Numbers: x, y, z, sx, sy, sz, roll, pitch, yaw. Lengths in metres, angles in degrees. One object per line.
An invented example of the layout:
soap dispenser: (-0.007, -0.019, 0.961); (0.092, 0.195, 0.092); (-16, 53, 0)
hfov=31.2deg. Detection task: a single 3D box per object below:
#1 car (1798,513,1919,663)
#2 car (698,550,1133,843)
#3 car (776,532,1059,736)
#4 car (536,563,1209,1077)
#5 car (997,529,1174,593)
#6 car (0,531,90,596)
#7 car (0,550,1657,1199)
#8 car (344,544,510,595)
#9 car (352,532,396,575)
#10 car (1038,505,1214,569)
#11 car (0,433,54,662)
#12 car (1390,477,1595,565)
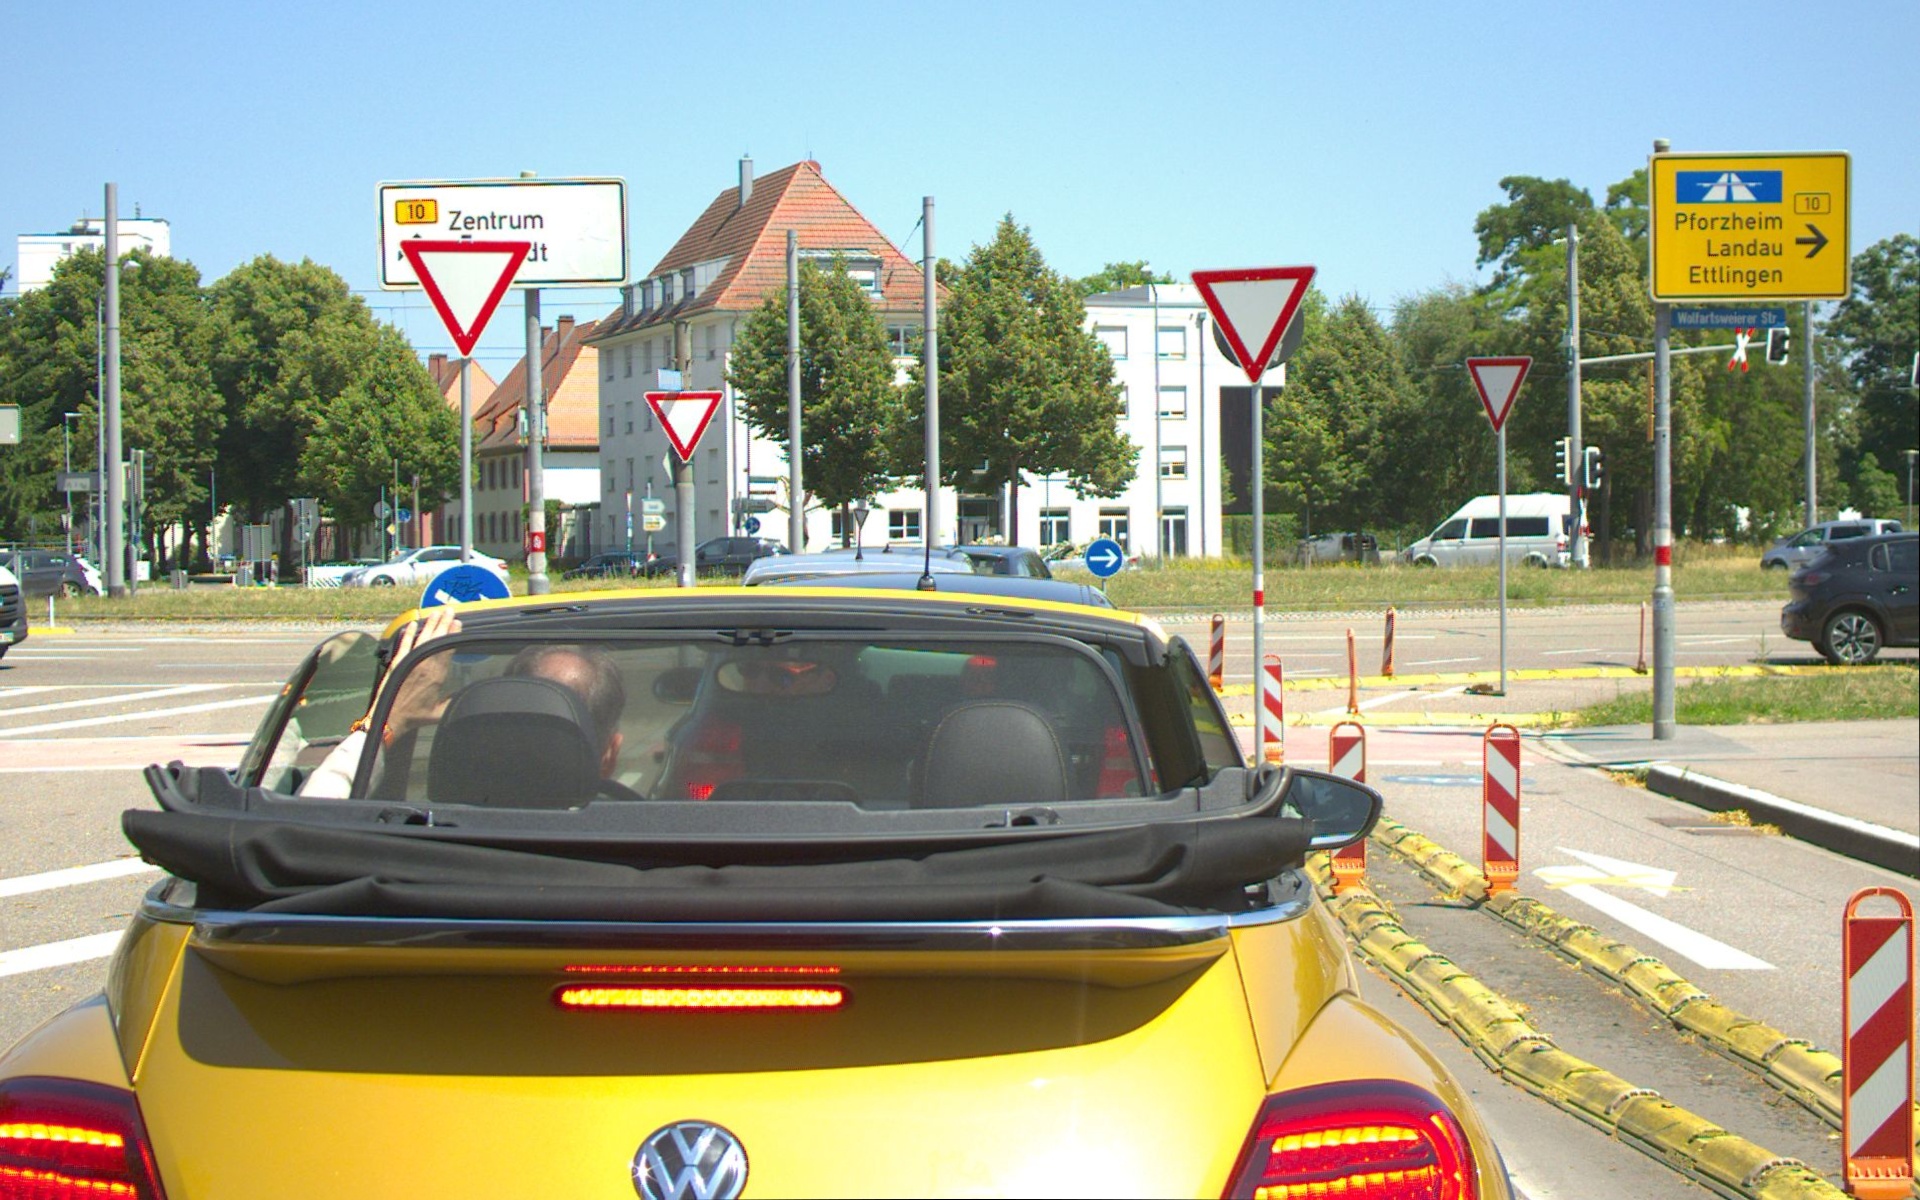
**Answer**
car: (11.392, -0.166, 37.864); (3.988, 1.546, 1.728); (-1, 3, 6)
car: (-0.236, 0.440, 18.609); (2.065, 1.377, 4.258); (1, 1, -1)
car: (-0.341, 0.207, 27.620); (2.065, 1.476, 4.543); (-1, 1, -1)
car: (-0.266, 0.588, 11.692); (1.851, 1.361, 4.258); (-1, 1, -1)
car: (4.019, -1.250, 109.860); (5.314, 1.955, 1.993); (1, 0, 14)
car: (-26.068, -1.003, 94.054); (3.988, 1.766, 1.786); (0, 1, -40)
car: (-0.317, 0.680, 5.083); (1.765, 1.476, 4.258); (1, 1, -1)
car: (-15.120, -0.866, 97.586); (4.316, 1.367, 1.752); (0, 1, -30)
car: (-24.922, -1.990, 146.226); (1.754, 1.788, 4.001); (1, 1, -9)
car: (5.307, -1.999, 109.676); (5.314, 1.955, 1.993); (1, 0, 13)
car: (-14.963, -0.706, 43.942); (6.871, 2.818, 1.997); (1, 1, 26)
car: (14.913, -2.207, 96.443); (5.322, 2.389, 1.990); (1, 1, 36)
